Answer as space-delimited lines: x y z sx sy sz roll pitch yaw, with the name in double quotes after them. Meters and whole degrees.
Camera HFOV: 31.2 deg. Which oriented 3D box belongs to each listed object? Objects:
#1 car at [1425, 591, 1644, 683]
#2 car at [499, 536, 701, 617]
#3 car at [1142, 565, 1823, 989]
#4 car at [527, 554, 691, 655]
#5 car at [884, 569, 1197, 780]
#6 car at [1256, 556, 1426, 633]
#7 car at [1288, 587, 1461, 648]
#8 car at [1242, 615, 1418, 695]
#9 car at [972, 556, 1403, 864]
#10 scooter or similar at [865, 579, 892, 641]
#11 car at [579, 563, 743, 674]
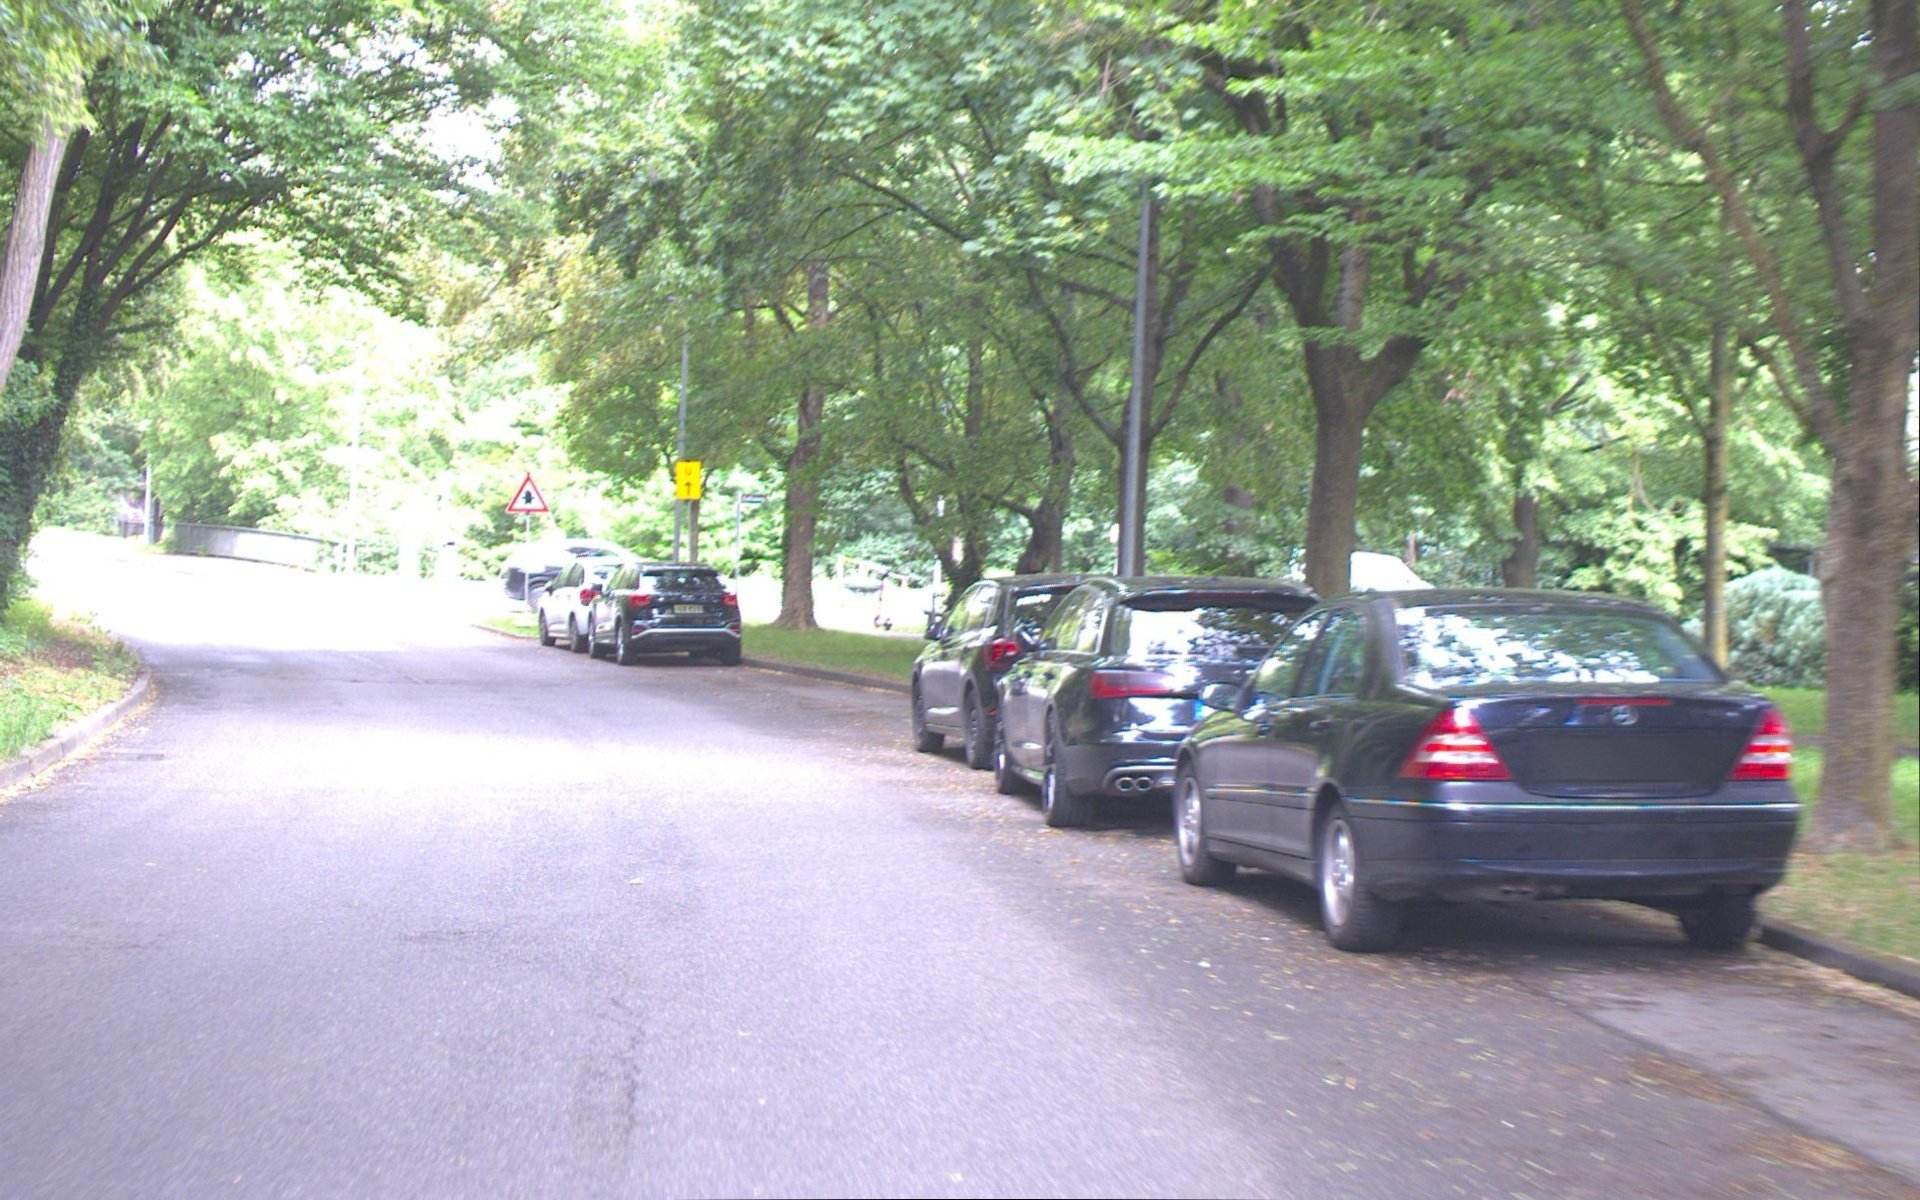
12.793 0.820 76.705 4.395 1.842 1.833 2 1 -7 "car"
-8.047 -0.532 76.713 4.220 1.680 1.800 2 1 -14 "car"
2.018 0.628 14.597 1.589 1.460 4.318 2 1 -9 "car"
-5.736 0.051 55.779 1.773 1.517 3.782 1 1 -19 "car"
0.545 0.525 26.776 1.681 1.459 3.899 2 1 -10 "car"
10.515 -0.157 95.016 4.204 2.007 2.001 2 1 -11 "car"
11.094 0.462 92.071 4.204 1.493 1.800 2 1 -11 "car"
8.077 1.195 75.181 3.516 1.565 1.832 2 1 -3 "car"
1.240 0.568 20.893 1.913 1.606 4.735 2 1 -4 "car"
-1.751 0.211 73.712 0.282 1.282 1.108 2 1 -14 "scooter or similar"
-4.530 0.248 51.530 1.773 1.517 4.184 2 1 -14 "car"
